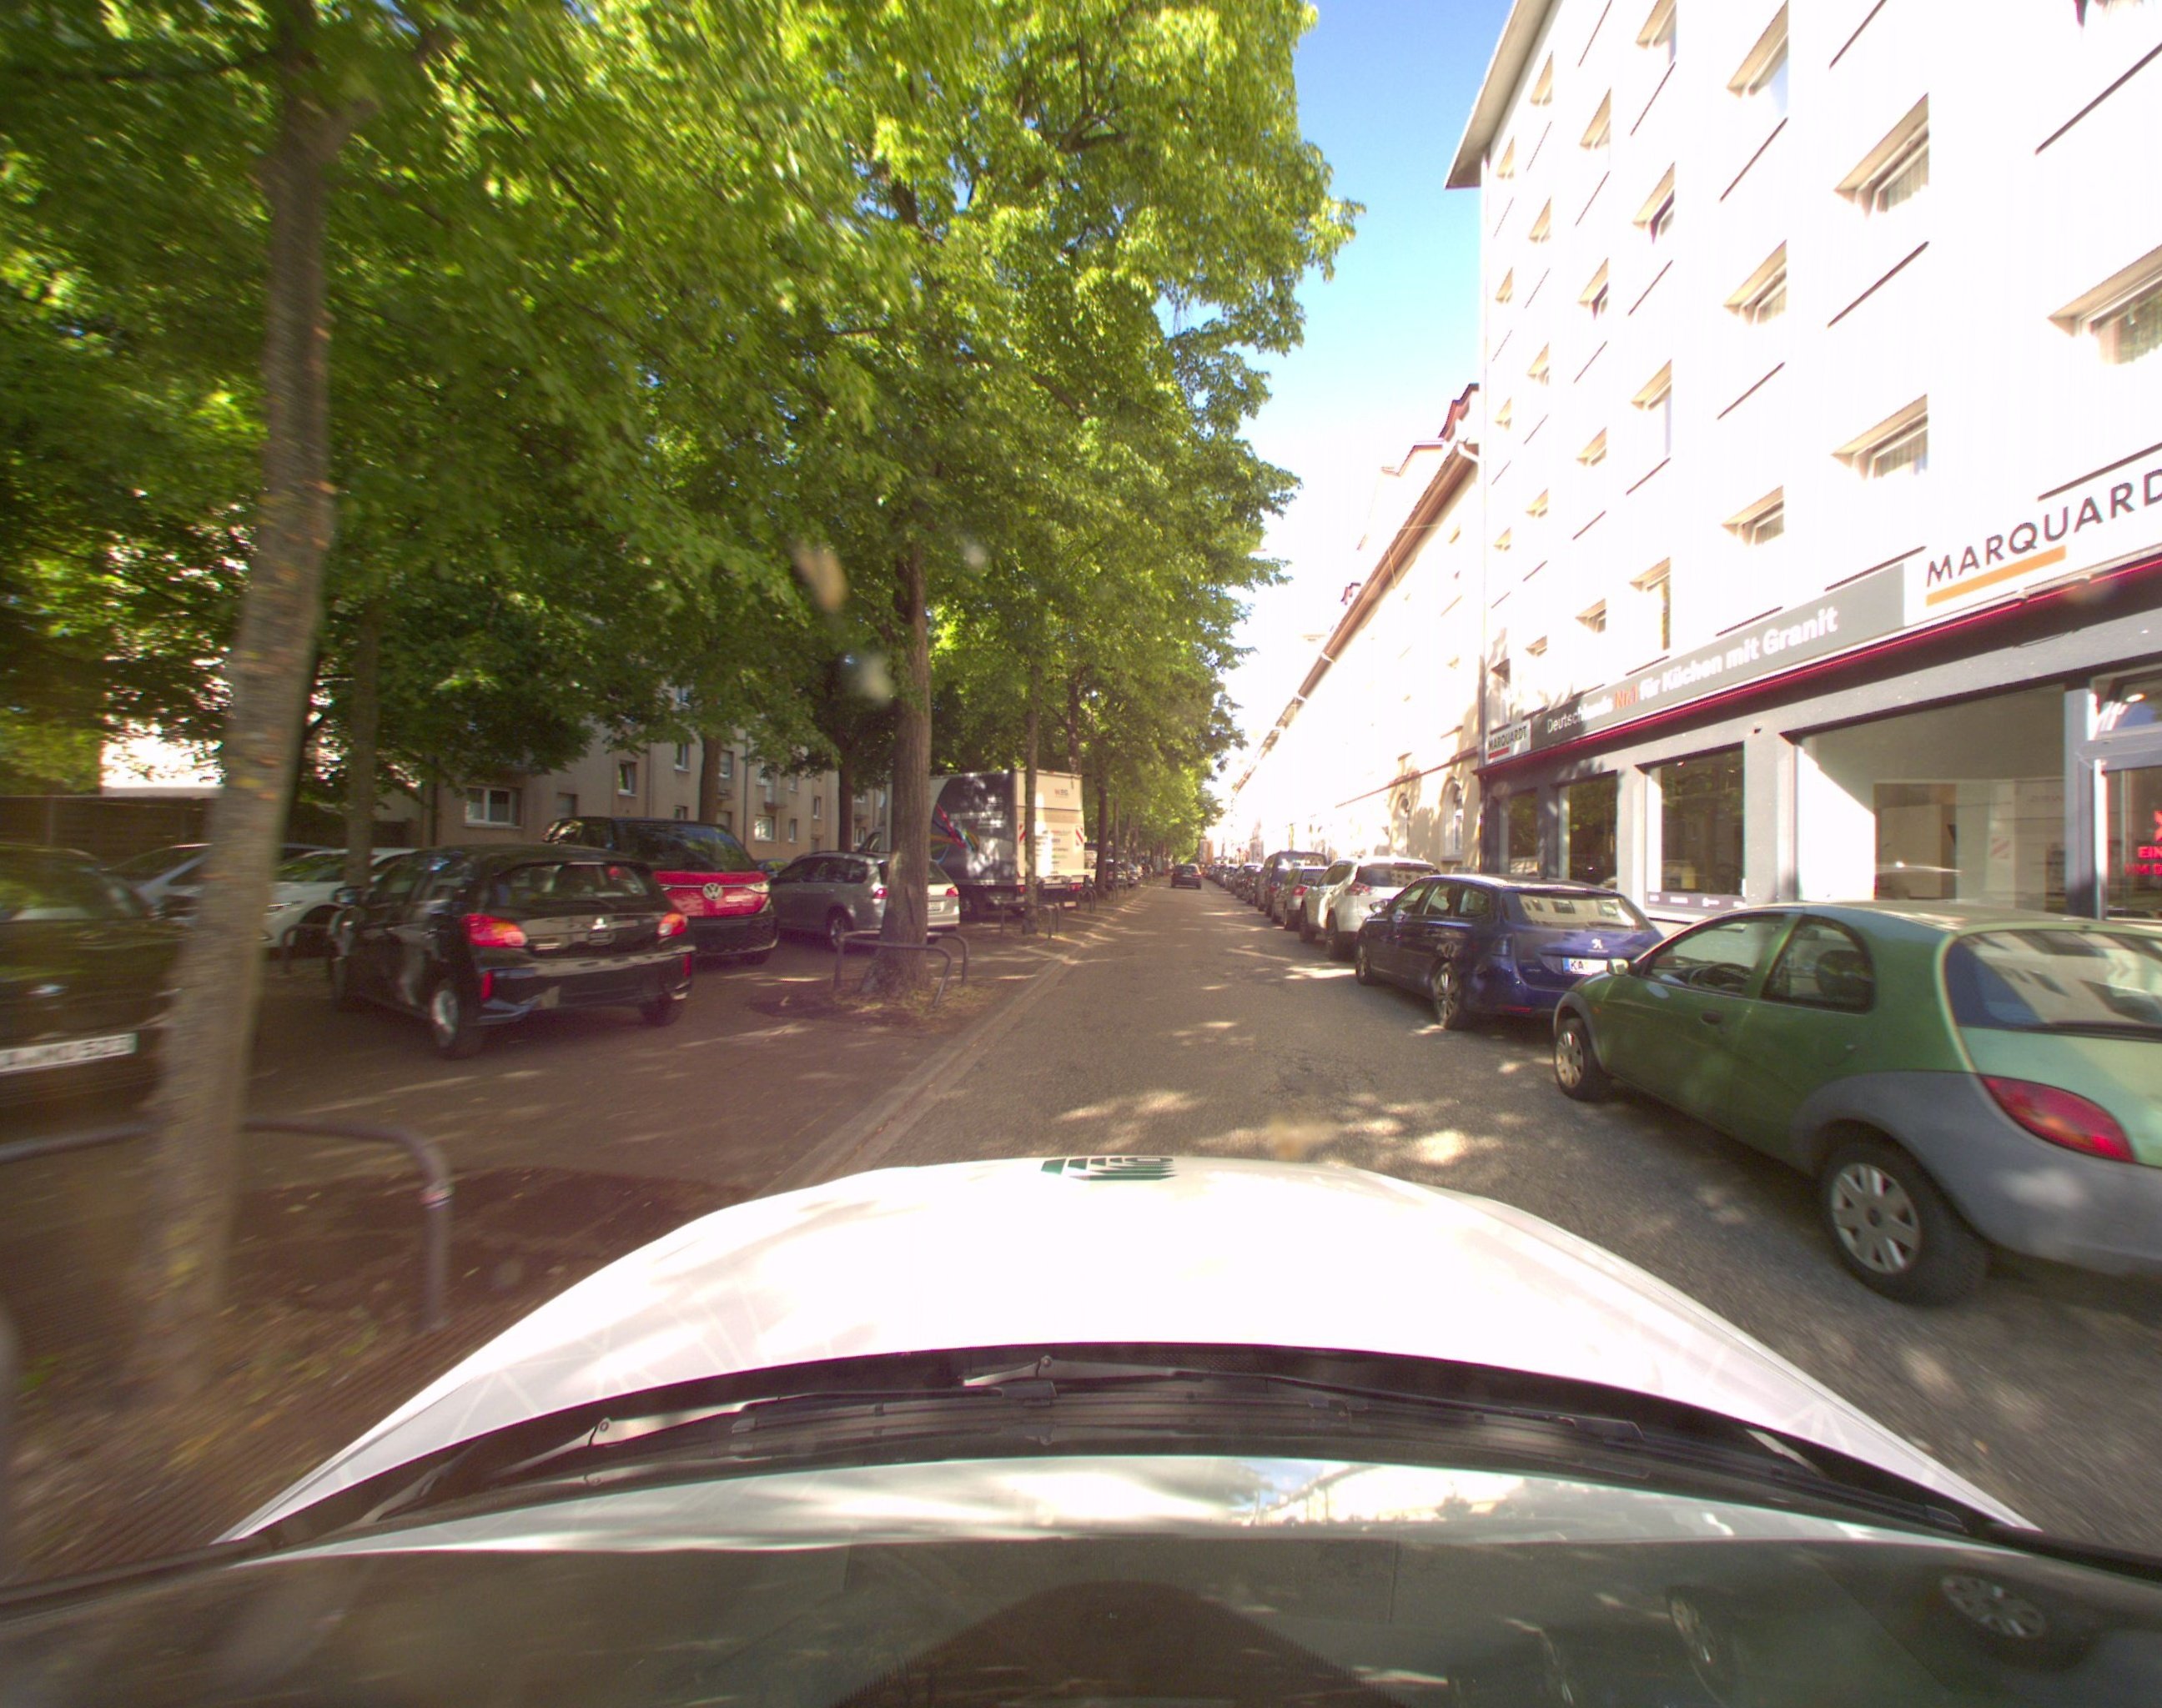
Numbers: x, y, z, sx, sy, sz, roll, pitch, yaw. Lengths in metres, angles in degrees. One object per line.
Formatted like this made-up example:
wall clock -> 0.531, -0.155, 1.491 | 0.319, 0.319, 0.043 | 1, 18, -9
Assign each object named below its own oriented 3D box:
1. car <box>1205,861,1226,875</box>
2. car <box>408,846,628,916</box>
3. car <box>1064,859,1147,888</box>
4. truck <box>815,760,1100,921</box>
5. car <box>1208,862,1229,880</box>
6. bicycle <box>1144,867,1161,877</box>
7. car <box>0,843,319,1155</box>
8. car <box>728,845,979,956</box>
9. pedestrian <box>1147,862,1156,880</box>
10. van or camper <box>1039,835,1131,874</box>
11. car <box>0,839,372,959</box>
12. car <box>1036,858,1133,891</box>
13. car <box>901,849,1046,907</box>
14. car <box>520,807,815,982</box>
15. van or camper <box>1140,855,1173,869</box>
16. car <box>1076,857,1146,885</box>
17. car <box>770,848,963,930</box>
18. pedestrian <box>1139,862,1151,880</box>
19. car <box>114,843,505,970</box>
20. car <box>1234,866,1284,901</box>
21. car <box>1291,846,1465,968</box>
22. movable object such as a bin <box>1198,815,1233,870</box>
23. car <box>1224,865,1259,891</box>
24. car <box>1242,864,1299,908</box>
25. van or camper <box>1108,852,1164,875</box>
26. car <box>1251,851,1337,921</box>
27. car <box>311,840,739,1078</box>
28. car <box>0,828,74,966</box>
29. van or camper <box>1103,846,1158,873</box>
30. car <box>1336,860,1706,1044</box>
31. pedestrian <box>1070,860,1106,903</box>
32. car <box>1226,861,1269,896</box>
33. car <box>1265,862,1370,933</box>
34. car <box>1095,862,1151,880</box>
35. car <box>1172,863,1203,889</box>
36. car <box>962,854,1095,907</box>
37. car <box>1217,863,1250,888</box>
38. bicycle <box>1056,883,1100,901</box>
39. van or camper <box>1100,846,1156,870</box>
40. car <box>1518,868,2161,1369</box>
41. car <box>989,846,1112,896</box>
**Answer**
car -> 14.547, 1.461, 88.354 | 1.983, 1.409, 4.508 | 1, 0, 6
car -> -13.027, 0.589, 19.239 | 1.754, 1.435, 4.353 | 1, 0, 8
car -> 1.330, 1.041, 44.648 | 4.367, 1.462, 1.727 | 1, -1, 39
truck -> -3.216, -0.268, 19.799 | 7.231, 3.294, 2.563 | 0, -1, 38
car -> 13.347, 1.647, 79.350 | 1.807, 1.674, 4.682 | 1, 0, 7
bicycle -> 7.151, 1.792, 81.414 | 1.727, 1.006, 0.508 | 1, -1, -23
car -> -6.518, 0.645, 4.869 | 3.898, 1.422, 1.833 | 1, -1, 31
car -> -3.796, 0.635, 13.188 | 4.288, 1.507, 1.825 | 1, -1, 41
pedestrian -> 5.615, 1.362, 64.850 | 0.608, 1.456, 0.523 | 0, -1, 30
van or camper -> 0.289, 0.025, 64.407 | 7.156, 2.930, 2.328 | 0, -1, 34
car -> -13.928, 0.605, 12.816 | 1.744, 1.569, 3.957 | 1, 0, 8
car -> 0.129, 0.969, 38.988 | 4.432, 1.455, 1.799 | 0, -1, 39
car -> -3.129, 0.642, 23.373 | 3.949, 1.503, 1.860 | 1, -1, 38
car -> -5.662, 0.431, 10.901 | 4.446, 1.873, 1.948 | 1, -1, 41
van or camper -> 13.325, 1.373, 143.833 | 5.281, 2.475, 2.308 | 0, -1, 39
car -> 1.876, 1.035, 51.123 | 4.093, 1.679, 1.770 | 1, -1, 36
car -> -4.619, 0.654, 17.243 | 4.288, 1.507, 1.825 | 1, -1, 41
pedestrian -> 5.040, 1.331, 64.349 | 0.702, 1.456, 0.600 | 0, -1, 30
car -> -10.533, 0.635, 11.626 | 1.748, 1.486, 3.949 | 1, 0, 1
car -> 7.737, 1.248, 35.688 | 1.542, 1.394, 3.864 | 1, 0, 3
car -> 4.929, 0.792, 14.188 | 1.753, 1.753, 4.516 | 1, 0, 5
movable object such as a bin -> 16.907, -1.446, 102.222 | 3.445, 6.760, 2.383 | 1, -1, 39
car -> 9.377, 1.370, 47.953 | 1.713, 1.432, 4.166 | 1, 0, 7
car -> 7.076, 1.151, 30.688 | 1.614, 1.498, 3.600 | 1, 0, 5
van or camper -> 5.766, 0.968, 85.301 | 5.445, 2.275, 2.234 | 0, -1, 31
car -> 6.390, 0.893, 24.931 | 1.938, 1.901, 4.855 | 1, 0, 7
car -> -4.804, 0.649, 6.894 | 3.774, 1.481, 1.772 | 1, -1, 36
car -> -13.863, 0.486, 8.272 | 1.745, 1.640, 4.253 | 1, 0, 5
van or camper -> 6.247, 0.690, 102.758 | 6.591, 3.241, 2.511 | 0, -1, 35
car -> 4.273, 0.811, 8.842 | 1.795, 1.463, 4.443 | 1, 0, 3
pedestrian -> 0.241, 0.892, 27.049 | 0.743, 1.397, 0.934 | 0, -1, 38
car -> 8.548, 1.220, 42.064 | 1.714, 1.686, 4.163 | 1, 0, 5
car -> 5.613, 0.955, 19.781 | 1.753, 1.500, 4.246 | 1, 0, 6
car -> 3.378, 1.358, 65.851 | 4.274, 1.424, 1.686 | 1, -1, 34
car -> 6.394, 1.276, 49.019 | 1.788, 1.504, 3.592 | 0, 0, 6
car -> -1.720, 0.784, 25.931 | 4.055, 1.506, 1.744 | 1, -1, 38
car -> 10.034, 1.381, 53.755 | 1.714, 1.528, 4.164 | 1, 0, 5
bicycle -> -0.107, 1.278, 27.478 | 1.593, 0.558, 0.412 | 0, -1, 38
van or camper -> 5.150, 0.419, 89.668 | 5.811, 2.637, 2.269 | 0, -1, 36
car -> 3.837, 0.831, 4.229 | 1.588, 1.463, 3.680 | 1, 0, 8
car -> -1.248, 0.647, 32.754 | 4.466, 1.865, 2.094 | 1, -1, 32
